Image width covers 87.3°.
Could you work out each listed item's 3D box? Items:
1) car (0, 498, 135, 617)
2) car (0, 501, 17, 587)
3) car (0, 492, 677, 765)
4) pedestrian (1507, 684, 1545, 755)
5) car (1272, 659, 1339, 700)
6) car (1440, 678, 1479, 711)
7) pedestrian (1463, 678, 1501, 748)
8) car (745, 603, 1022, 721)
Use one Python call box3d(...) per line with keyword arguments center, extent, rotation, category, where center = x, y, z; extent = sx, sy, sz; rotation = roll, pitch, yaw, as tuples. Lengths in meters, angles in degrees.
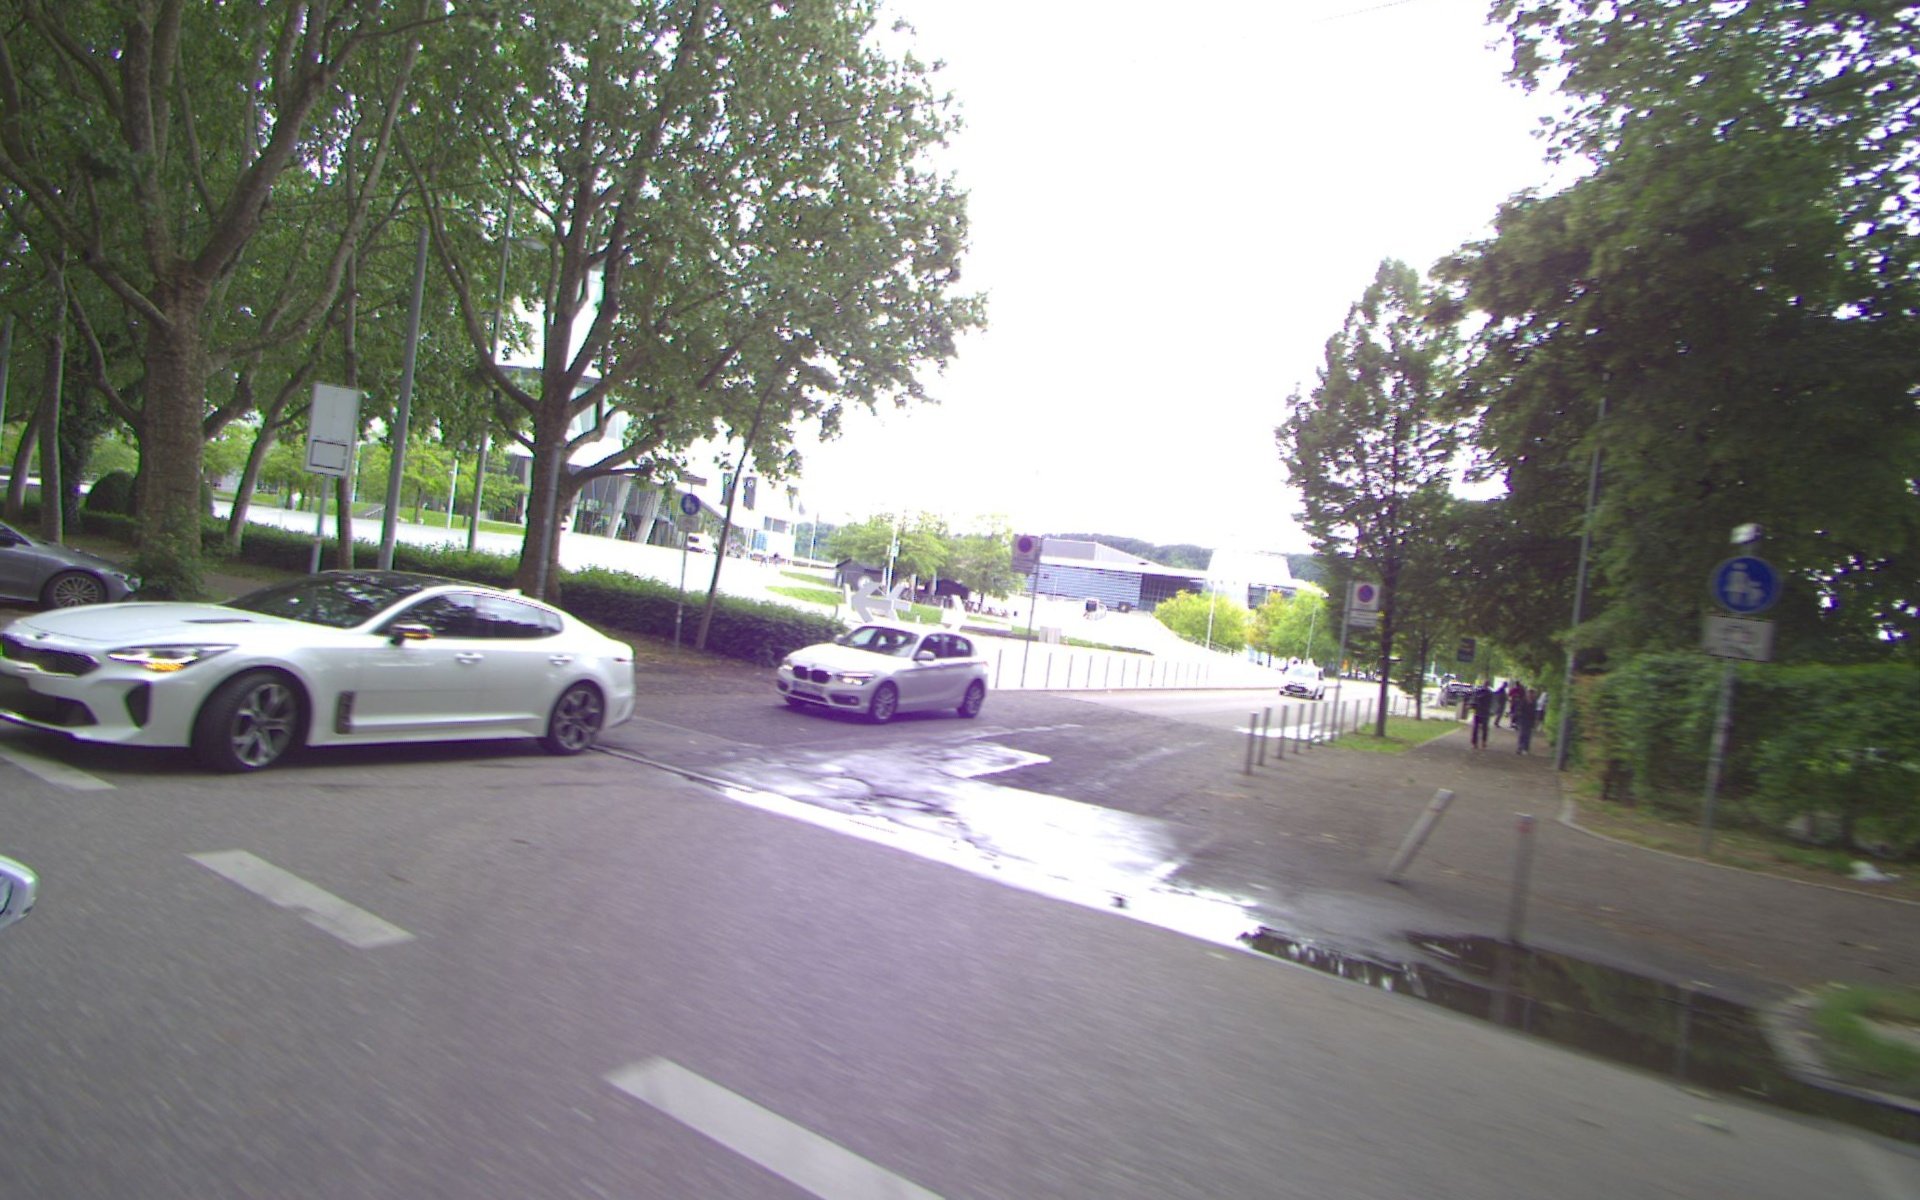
box3d(center=(-14.460, -0.831, 13.680), extent=(1.969, 1.503, 4.578), rotation=(7, -2, 36), category="car")
box3d(center=(-18.308, -1.258, 16.240), extent=(1.704, 1.459, 4.179), rotation=(7, -2, 36), category="car")
box3d(center=(-4.733, 0.377, 8.256), extent=(1.963, 1.417, 4.956), rotation=(8, -4, 21), category="car")
box3d(center=(13.851, 2.923, 24.611), extent=(0.618, 1.618, 1.038), rotation=(7, -1, 30), category="pedestrian")
box3d(center=(16.181, 3.729, 47.009), extent=(1.967, 1.503, 3.995), rotation=(7, -2, 32), category="car")
box3d(center=(31.735, 6.015, 63.992), extent=(1.965, 1.747, 4.000), rotation=(7, -2, 26), category="car")
box3d(center=(12.995, 2.812, 25.027), extent=(0.618, 1.618, 0.792), rotation=(7, -1, 31), category="pedestrian")
box3d(center=(-1.022, 1.045, 16.401), extent=(1.966, 1.419, 4.941), rotation=(7, -1, 30), category="car")
